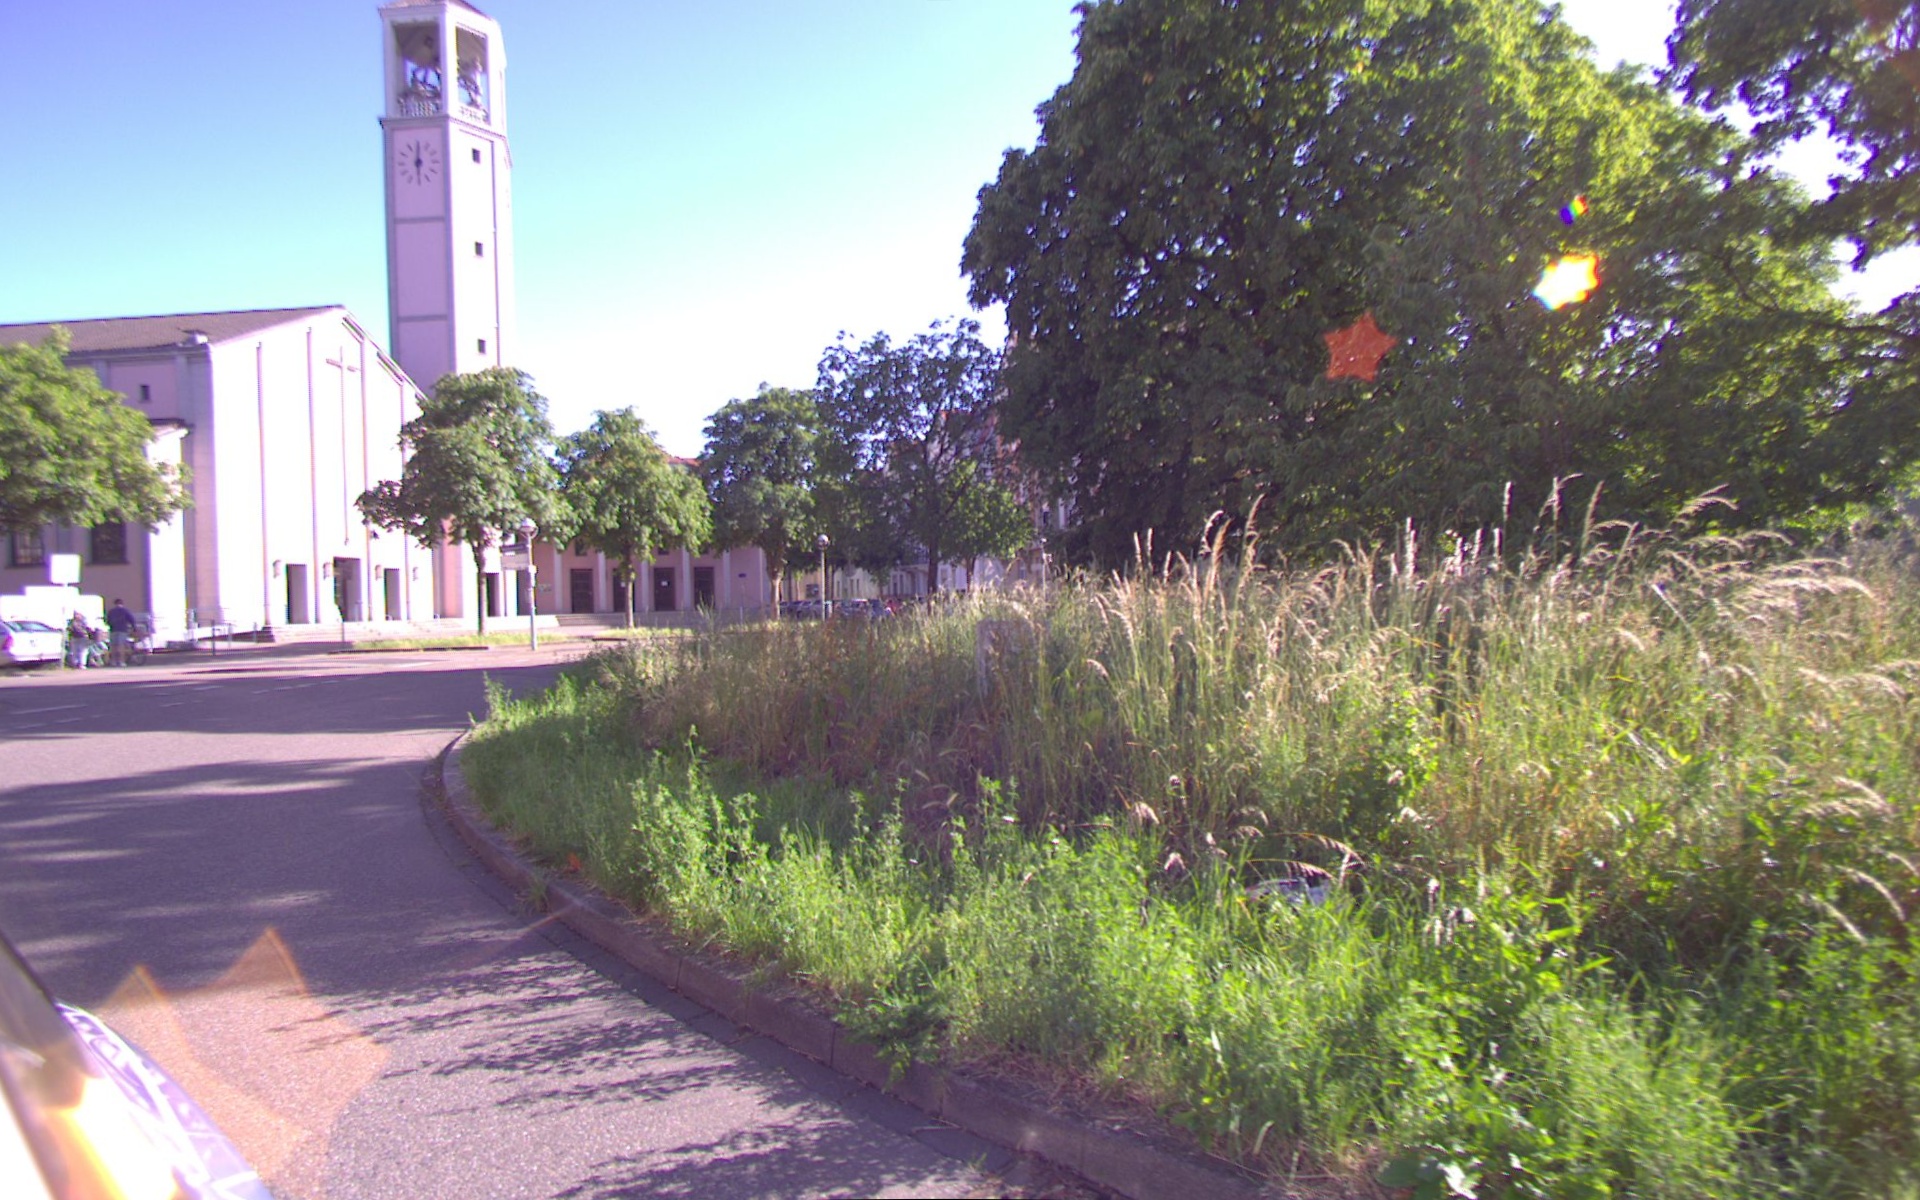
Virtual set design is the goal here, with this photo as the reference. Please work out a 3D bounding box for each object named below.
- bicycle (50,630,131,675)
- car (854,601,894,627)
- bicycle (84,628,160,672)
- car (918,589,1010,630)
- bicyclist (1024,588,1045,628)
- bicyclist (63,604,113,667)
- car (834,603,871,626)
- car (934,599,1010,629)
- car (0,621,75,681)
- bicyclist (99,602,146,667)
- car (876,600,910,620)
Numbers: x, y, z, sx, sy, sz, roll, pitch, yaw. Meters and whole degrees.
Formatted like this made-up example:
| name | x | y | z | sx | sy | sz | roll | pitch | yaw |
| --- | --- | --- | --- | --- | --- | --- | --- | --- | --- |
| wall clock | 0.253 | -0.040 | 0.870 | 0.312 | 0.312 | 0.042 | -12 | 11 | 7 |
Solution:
| name | x | y | z | sx | sy | sz | roll | pitch | yaw |
| --- | --- | --- | --- | --- | --- | --- | --- | --- | --- |
| bicycle | -22.553 | 1.366 | 26.255 | 1.845 | 1.116 | 0.593 | -1 | 1 | 13 |
| car | -5.178 | 0.826 | 60.662 | 1.586 | 1.433 | 3.625 | -1 | 0 | -18 |
| bicycle | -22.709 | 1.355 | 27.440 | 1.699 | 1.116 | 0.643 | -1 | 0 | 12 |
| car | 0.226 | 0.503 | 54.949 | 4.663 | 2.061 | 1.984 | -1 | 0 | 16 |
| bicyclist | 3.283 | 0.342 | 44.563 | 0.800 | 1.709 | 0.766 | -2 | 0 | -4 |
| bicyclist | -22.628 | 0.905 | 26.267 | 0.796 | 1.593 | 0.593 | -1 | 1 | 13 |
| car | -6.929 | 0.911 | 64.981 | 1.586 | 1.433 | 3.625 | -1 | 0 | -18 |
| car | 0.654 | 0.699 | 52.509 | 3.659 | 1.446 | 1.662 | -1 | 0 | 13 |
| car | -24.733 | 1.286 | 24.953 | 4.278 | 1.426 | 1.809 | -2 | -1 | 0 |
| bicyclist | -22.707 | 0.928 | 27.432 | 0.715 | 1.727 | 0.644 | -1 | 0 | 11 |
| car | -5.313 | 0.803 | 79.773 | 1.731 | 1.467 | 3.967 | -1 | 0 | -17 |
